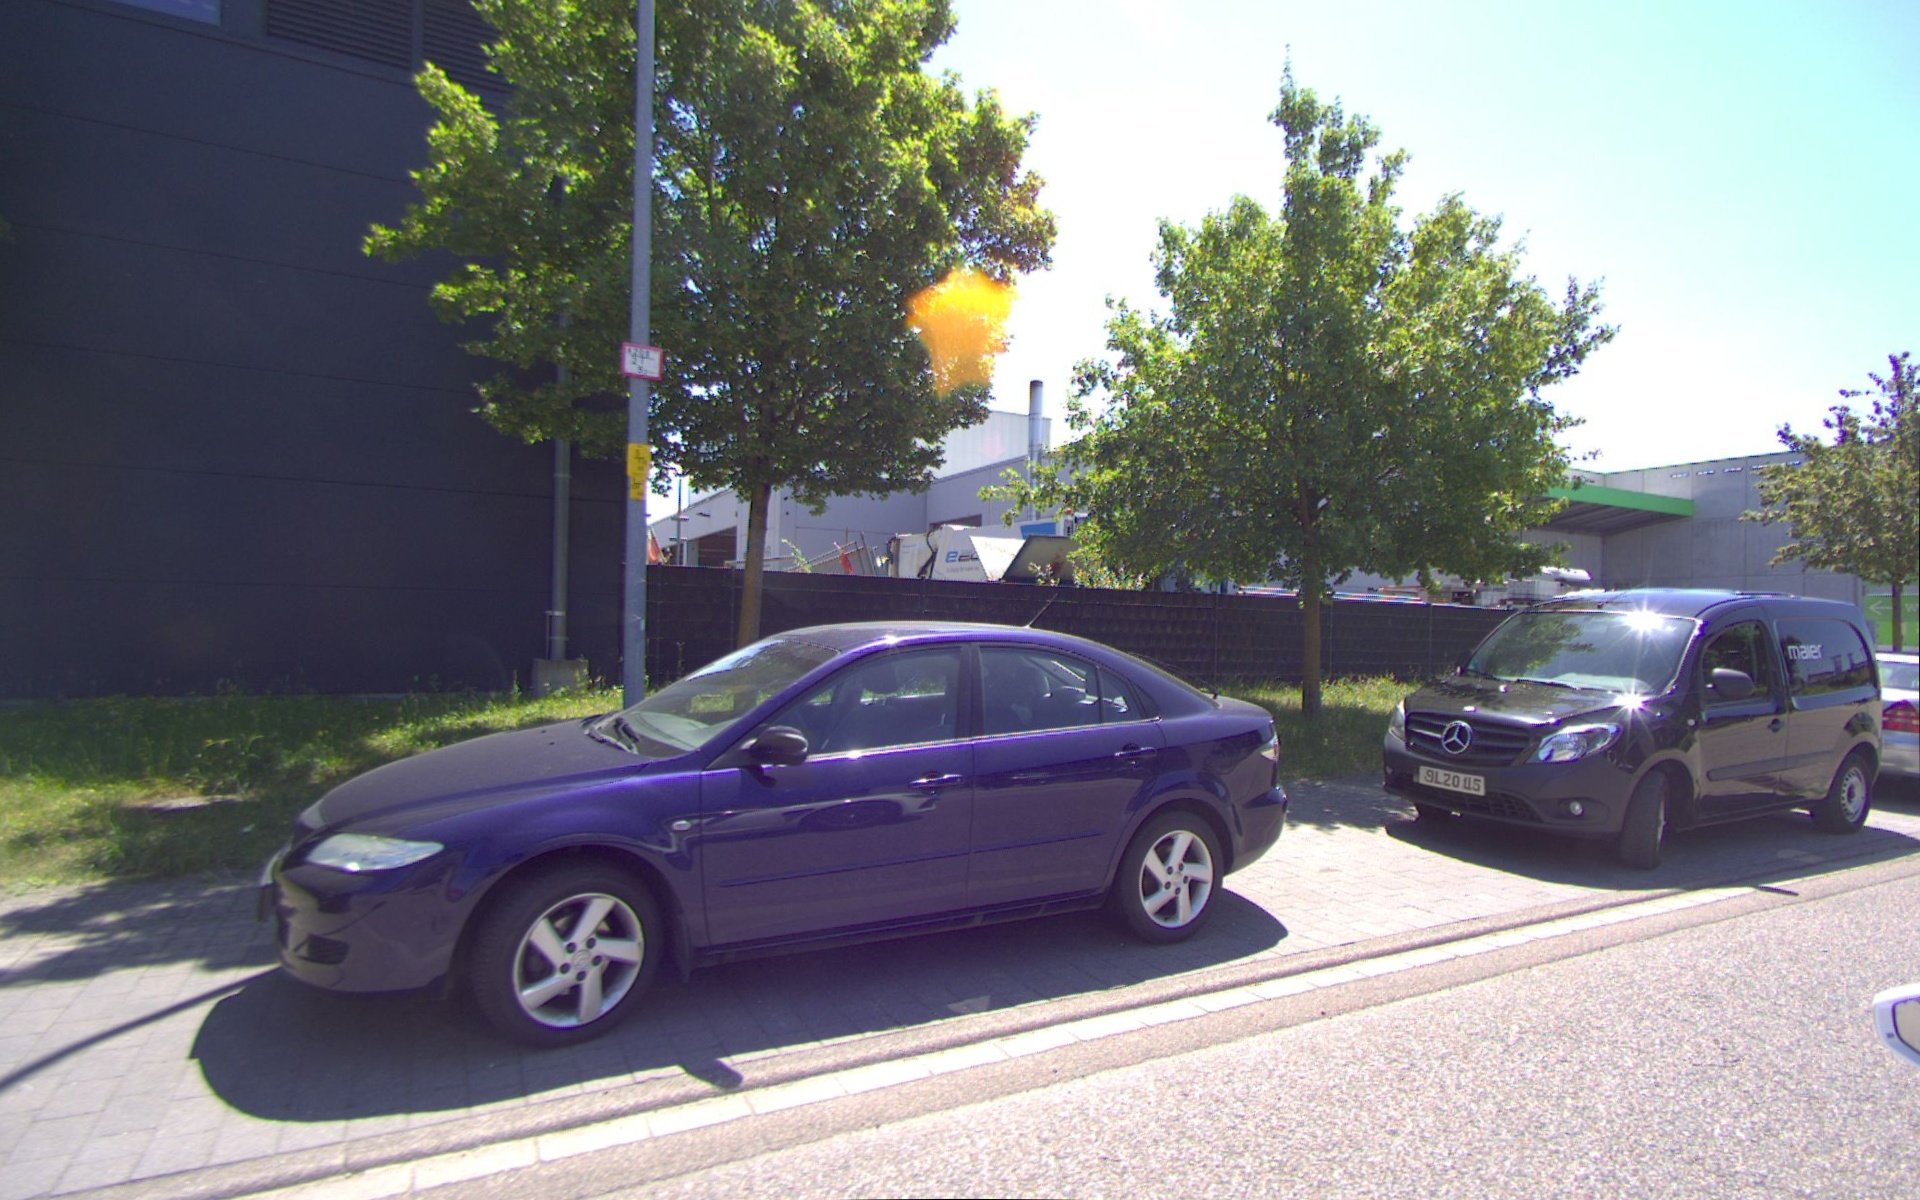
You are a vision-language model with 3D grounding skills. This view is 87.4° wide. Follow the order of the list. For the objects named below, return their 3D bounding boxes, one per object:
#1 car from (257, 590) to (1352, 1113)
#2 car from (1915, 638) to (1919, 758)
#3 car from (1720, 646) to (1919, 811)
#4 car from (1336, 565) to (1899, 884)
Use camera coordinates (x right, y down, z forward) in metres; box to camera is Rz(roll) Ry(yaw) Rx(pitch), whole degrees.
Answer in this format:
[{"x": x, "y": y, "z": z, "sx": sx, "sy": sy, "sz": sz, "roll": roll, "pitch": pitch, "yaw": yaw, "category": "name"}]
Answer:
[{"x": -0.433, "y": 0.794, "z": 4.775, "sx": 4.533, "sy": 1.495, "sz": 1.791, "roll": 2, "pitch": 0, "yaw": -29, "category": "car"}, {"x": 13.949, "y": 1.247, "z": 12.520, "sx": 4.200, "sy": 1.469, "sz": 1.791, "roll": 1, "pitch": 0, "yaw": -29, "category": "car"}, {"x": 9.461, "y": 1.180, "z": 9.989, "sx": 3.848, "sy": 1.314, "sz": 1.473, "roll": 2, "pitch": 0, "yaw": -27, "category": "car"}, {"x": 5.035, "y": 0.782, "z": 7.590, "sx": 4.201, "sy": 1.838, "sz": 1.791, "roll": 2, "pitch": 0, "yaw": -29, "category": "car"}]
